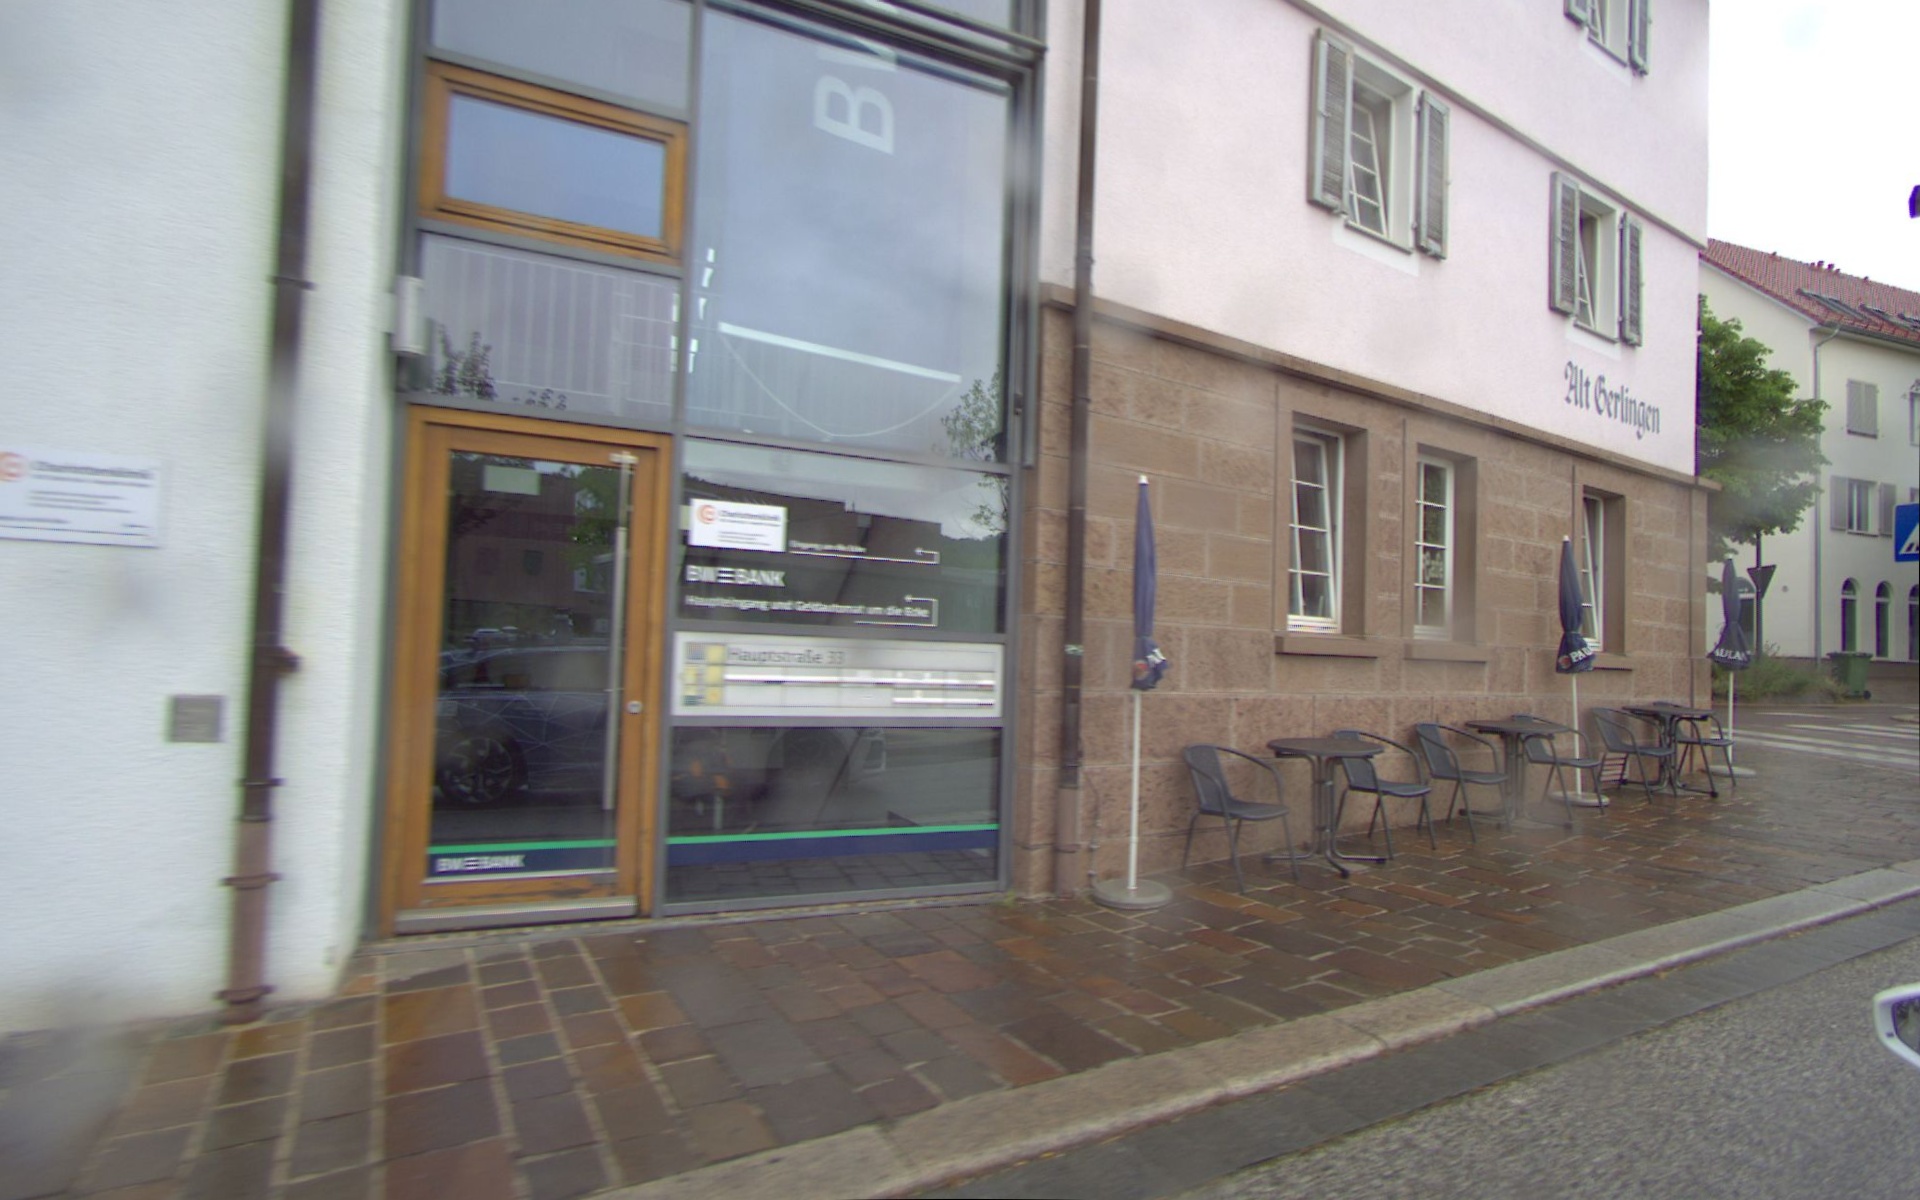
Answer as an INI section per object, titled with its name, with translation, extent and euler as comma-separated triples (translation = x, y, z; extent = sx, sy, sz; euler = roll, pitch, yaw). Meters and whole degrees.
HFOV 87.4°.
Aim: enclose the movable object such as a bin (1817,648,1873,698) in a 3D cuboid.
[movable object such as a bin]
translation = 20.663, 1.707, 23.457
extent = 0.639, 1.139, 0.737
euler = 2, -3, -15
